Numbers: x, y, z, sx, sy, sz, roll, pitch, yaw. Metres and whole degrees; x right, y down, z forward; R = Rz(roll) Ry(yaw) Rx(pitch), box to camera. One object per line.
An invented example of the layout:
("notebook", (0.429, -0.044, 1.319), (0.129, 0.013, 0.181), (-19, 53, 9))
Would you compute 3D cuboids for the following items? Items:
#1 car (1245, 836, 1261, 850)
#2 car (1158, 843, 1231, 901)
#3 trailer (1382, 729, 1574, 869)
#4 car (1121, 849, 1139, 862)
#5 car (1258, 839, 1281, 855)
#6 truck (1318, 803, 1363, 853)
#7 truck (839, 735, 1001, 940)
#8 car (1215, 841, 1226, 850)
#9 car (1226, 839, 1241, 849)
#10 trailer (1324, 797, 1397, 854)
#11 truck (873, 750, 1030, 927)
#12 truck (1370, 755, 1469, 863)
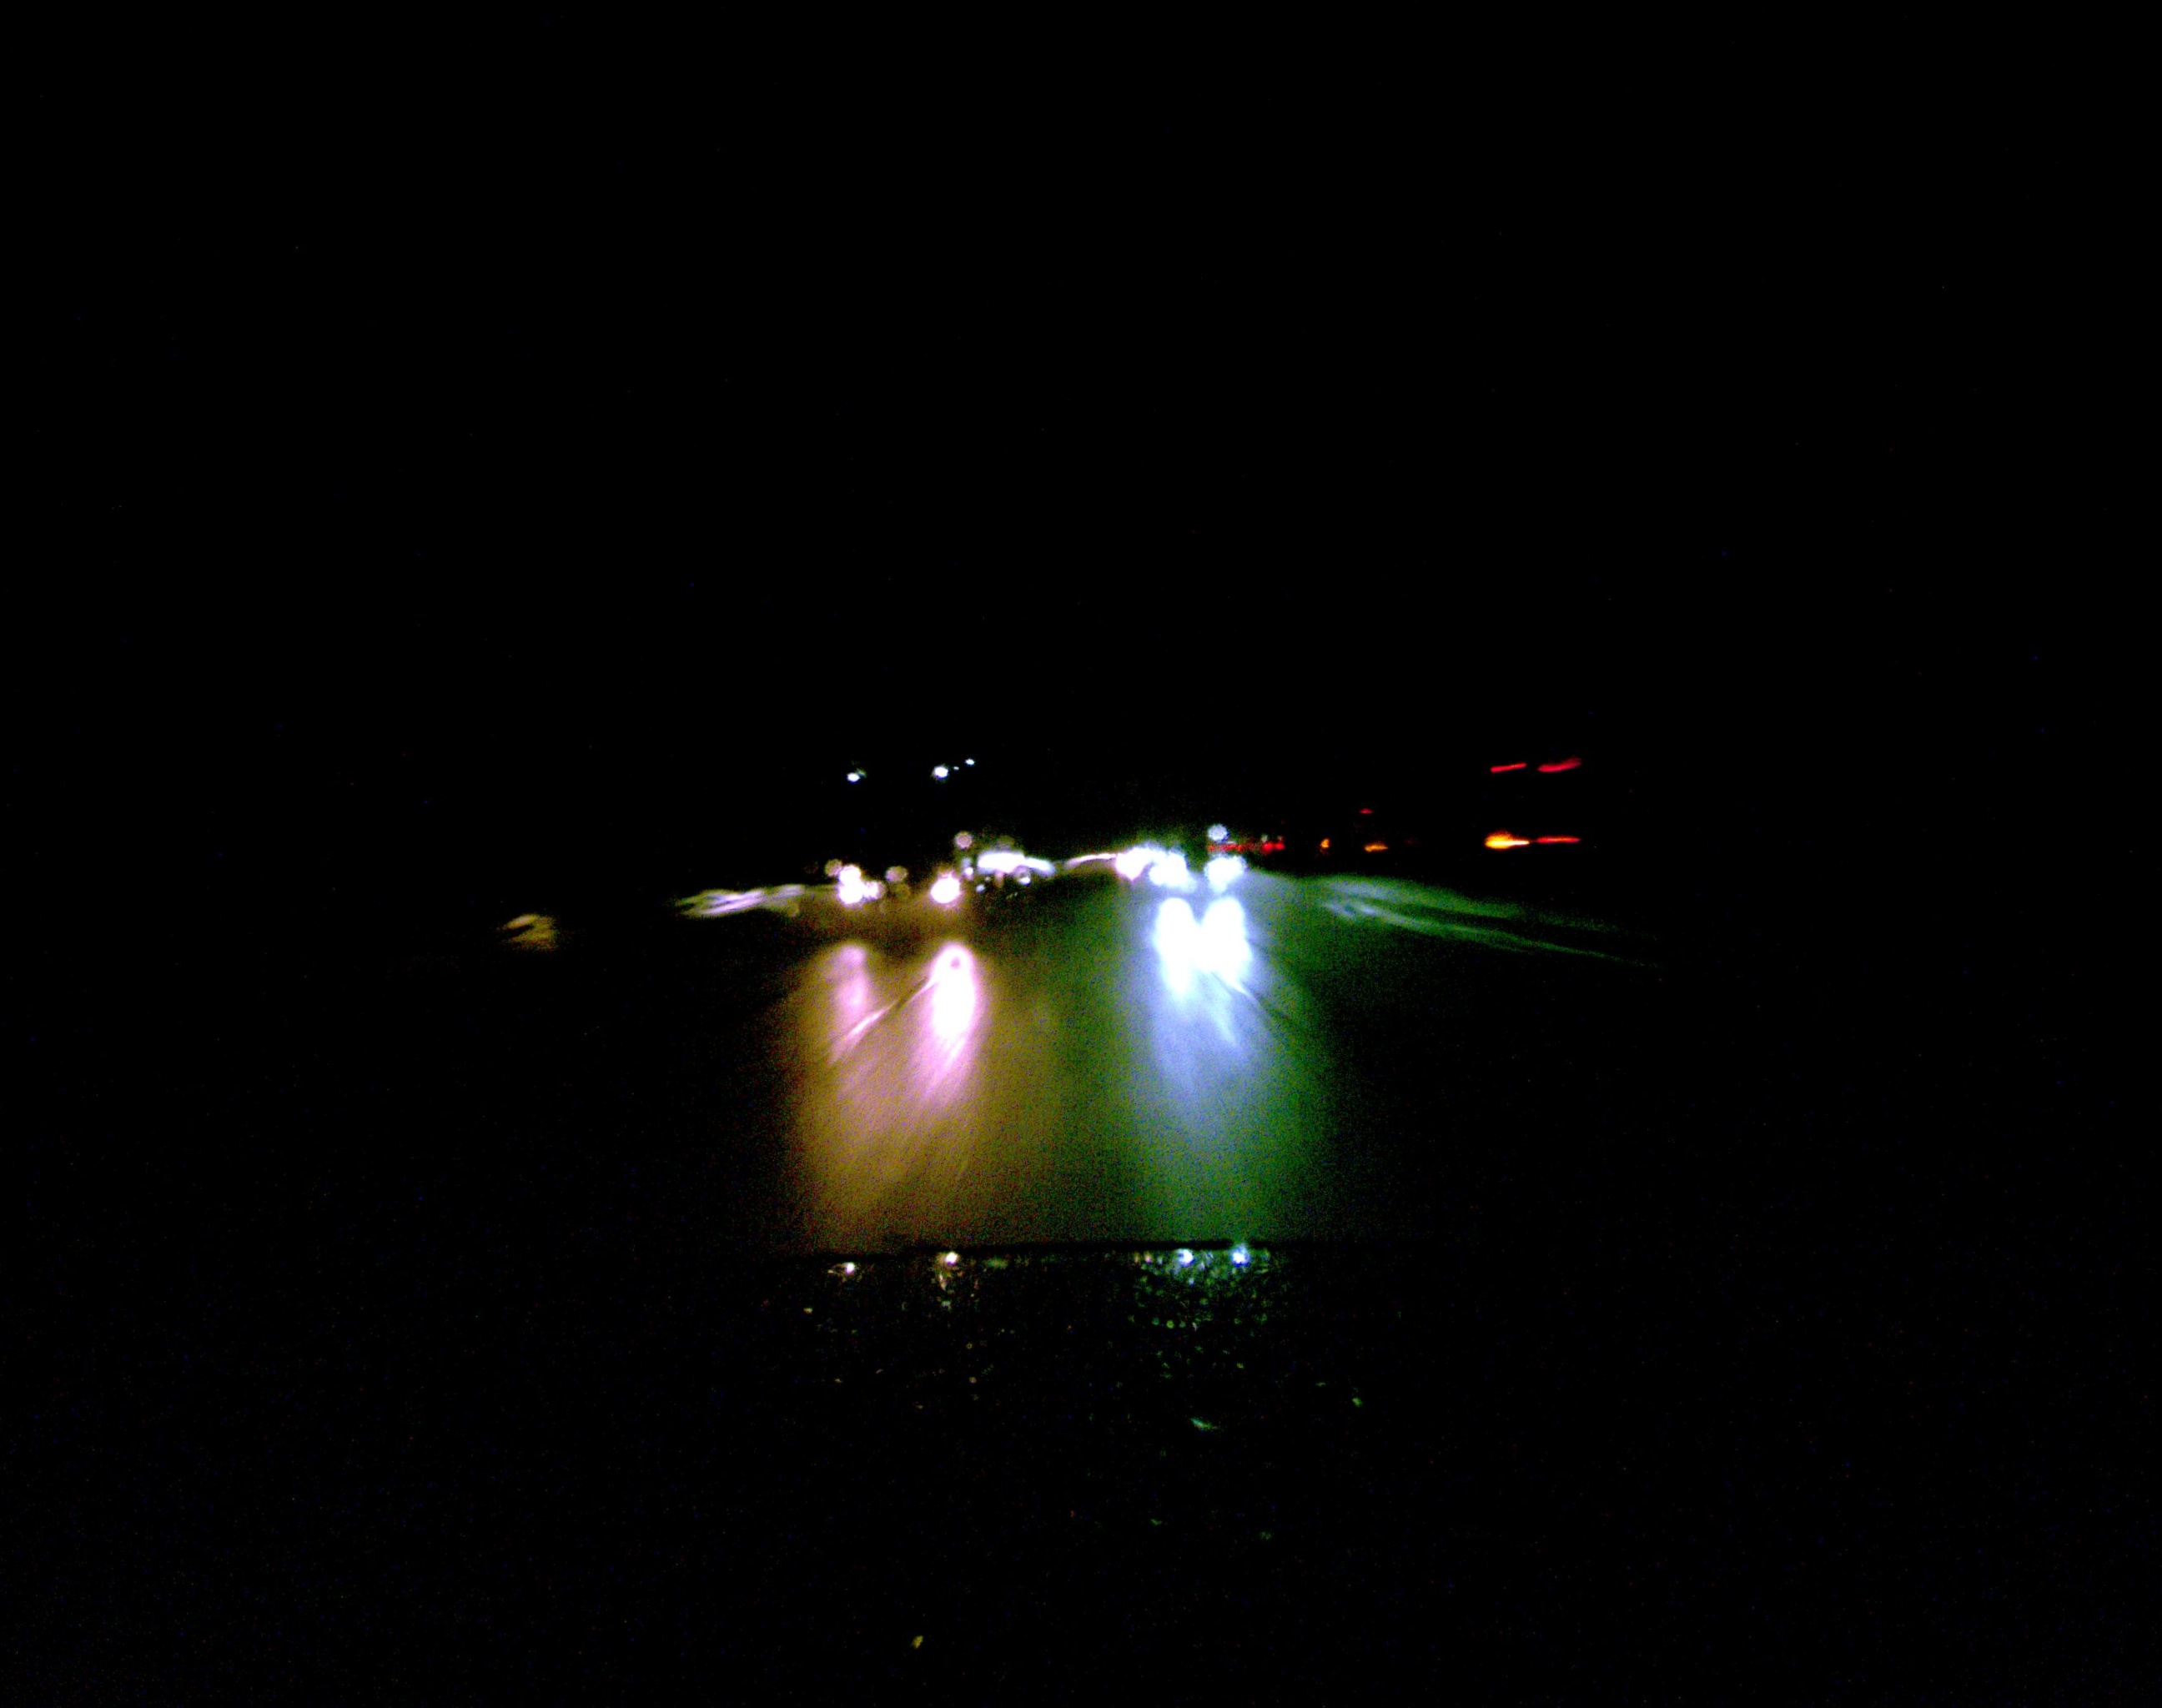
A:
("car", (31.807, -2.029, 140.724), (2.178, 2.427, 4.938), (-2, 1, 5))
("car", (4.107, 0.584, 28.352), (2.141, 1.873, 5.556), (-2, 1, 3))
("trailer", (19.796, -2.439, 39.593), (2.916, 5.860, 14.172), (-2, 1, 2))
("car", (6.048, 0.167, 93.415), (1.998, 1.553, 4.647), (-2, 1, 5))
("car", (20.350, -0.764, 82.131), (1.784, 1.638, 3.865), (-2, 0, 3))
("truck", (27.280, -2.666, 80.222), (2.780, 4.946, 6.717), (-2, 1, 5))
("truck", (-3.724, -0.370, 19.055), (2.503, 4.223, 5.981), (-2, 1, 1))
("car", (27.573, -1.709, 150.280), (1.880, 1.618, 4.002), (-2, 0, 7))
("car", (26.859, -1.763, 134.062), (1.998, 1.749, 4.001), (-2, 0, 3))
("trailer", (26.735, -2.577, 73.549), (2.780, 4.946, 14.109), (-2, 1, 5))
("truck", (-3.616, -0.452, 25.390), (2.503, 4.223, 13.641), (-2, 1, 1))
("truck", (20.035, -2.498, 45.511), (2.910, 5.861, 6.879), (-2, 1, 2))
